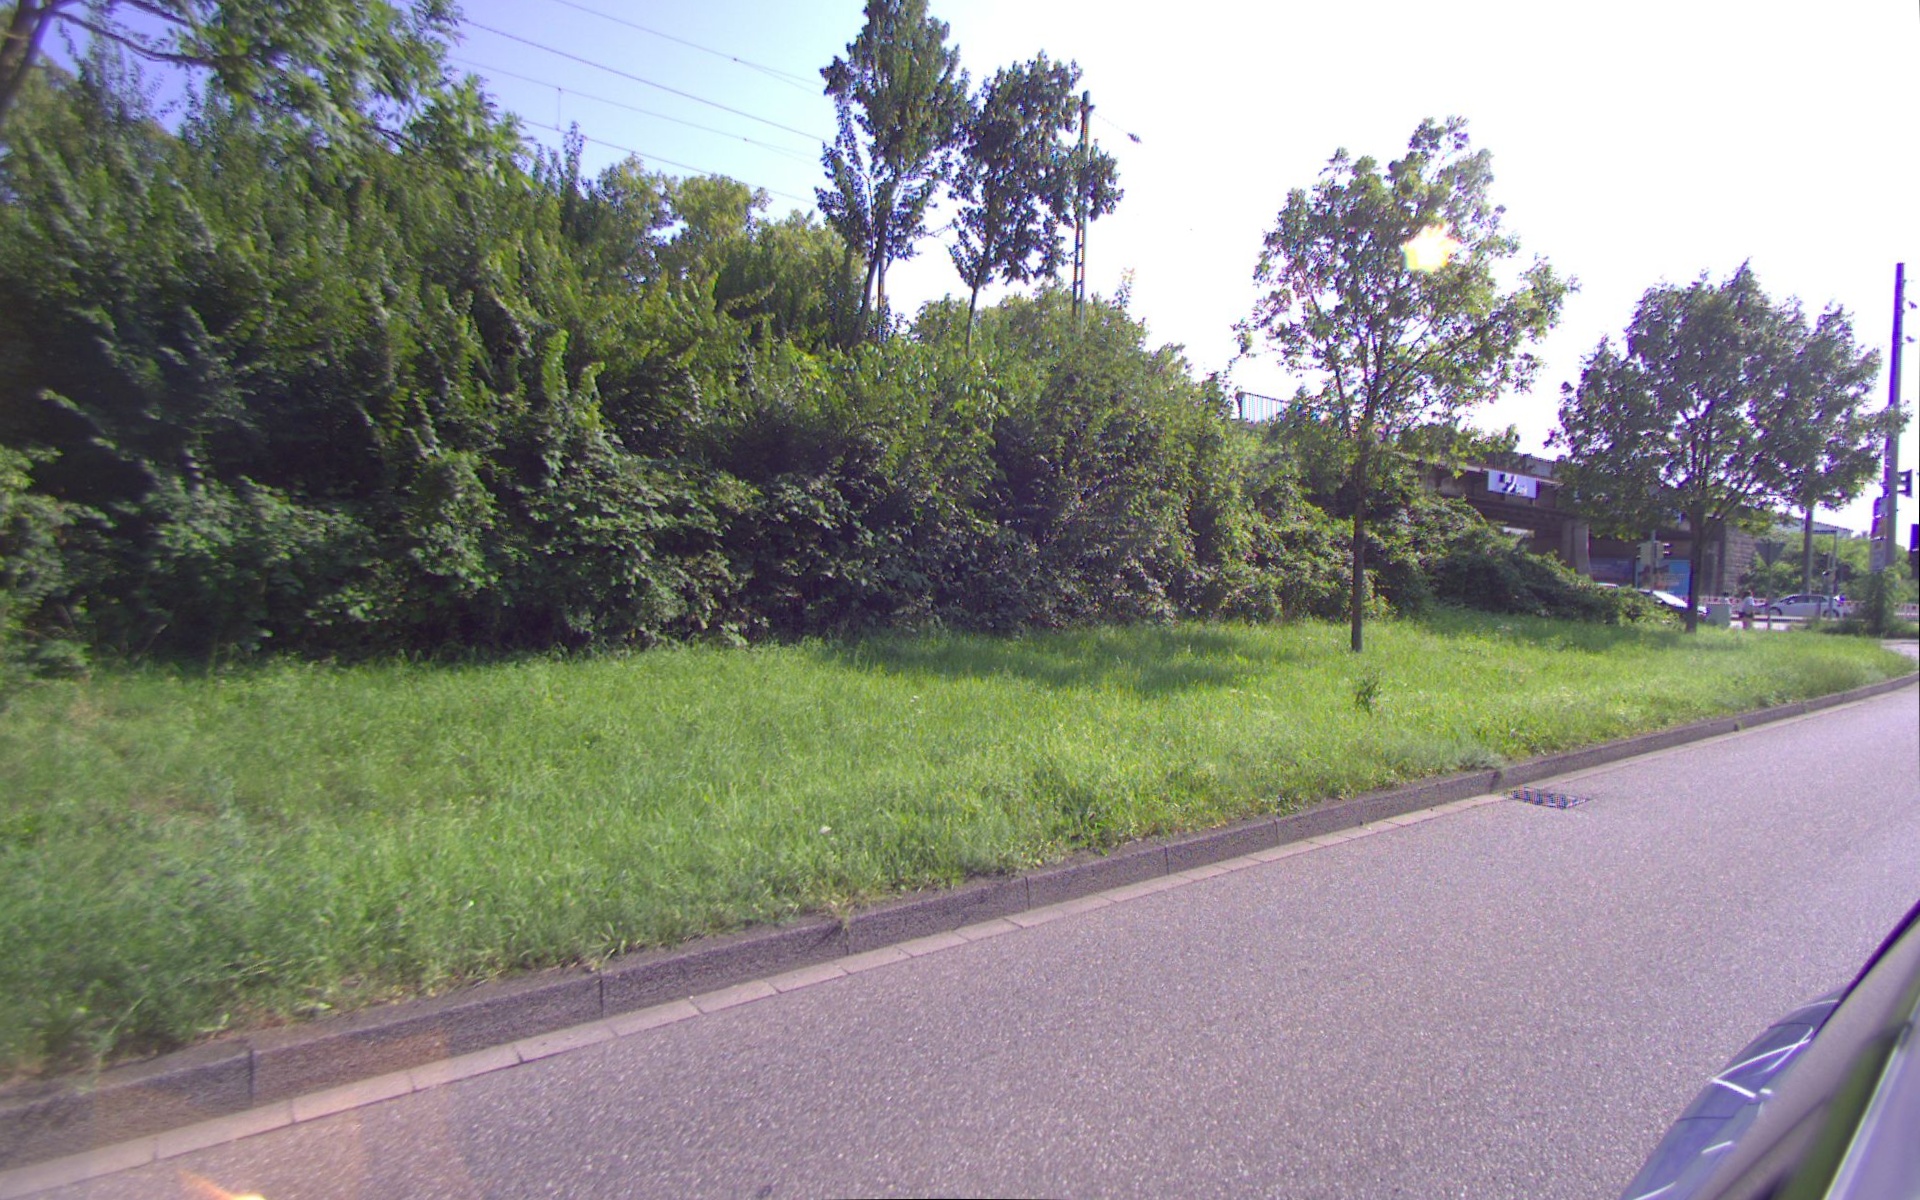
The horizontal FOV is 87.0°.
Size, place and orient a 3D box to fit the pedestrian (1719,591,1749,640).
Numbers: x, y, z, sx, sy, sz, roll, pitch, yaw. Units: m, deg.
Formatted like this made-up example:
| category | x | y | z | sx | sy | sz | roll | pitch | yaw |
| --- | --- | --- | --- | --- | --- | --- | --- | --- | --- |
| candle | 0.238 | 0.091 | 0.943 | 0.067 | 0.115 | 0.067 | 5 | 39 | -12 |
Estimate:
| category | x | y | z | sx | sy | sz | roll | pitch | yaw |
| --- | --- | --- | --- | --- | --- | --- | --- | --- | --- |
| pedestrian | 25.829 | 0.514 | 33.779 | 0.563 | 1.586 | 0.535 | 1 | 1 | 11 |

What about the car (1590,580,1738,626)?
| category | x | y | z | sx | sy | sz | roll | pitch | yaw |
| --- | --- | --- | --- | --- | --- | --- | --- | --- | --- |
| car | 26.195 | 0.078 | 37.829 | 1.832 | 1.552 | 4.203 | 0 | 2 | -23 |

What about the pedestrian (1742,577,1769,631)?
| category | x | y | z | sx | sy | sz | roll | pitch | yaw |
| --- | --- | --- | --- | --- | --- | --- | --- | --- | --- |
| pedestrian | 25.715 | 0.125 | 32.720 | 0.486 | 1.703 | 0.567 | 1 | 1 | 22 |

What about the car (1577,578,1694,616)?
| category | x | y | z | sx | sy | sz | roll | pitch | yaw |
| --- | --- | --- | --- | --- | --- | --- | --- | --- | --- |
| car | 31.780 | -0.161 | 47.730 | 4.164 | 1.638 | 1.998 | 2 | 1 | 20 |

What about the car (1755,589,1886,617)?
| category | x | y | z | sx | sy | sz | roll | pitch | yaw |
| --- | --- | --- | --- | --- | --- | --- | --- | --- | --- |
| car | 48.926 | 0.128 | 57.666 | 5.352 | 1.464 | 1.852 | 1 | 1 | 15 |
